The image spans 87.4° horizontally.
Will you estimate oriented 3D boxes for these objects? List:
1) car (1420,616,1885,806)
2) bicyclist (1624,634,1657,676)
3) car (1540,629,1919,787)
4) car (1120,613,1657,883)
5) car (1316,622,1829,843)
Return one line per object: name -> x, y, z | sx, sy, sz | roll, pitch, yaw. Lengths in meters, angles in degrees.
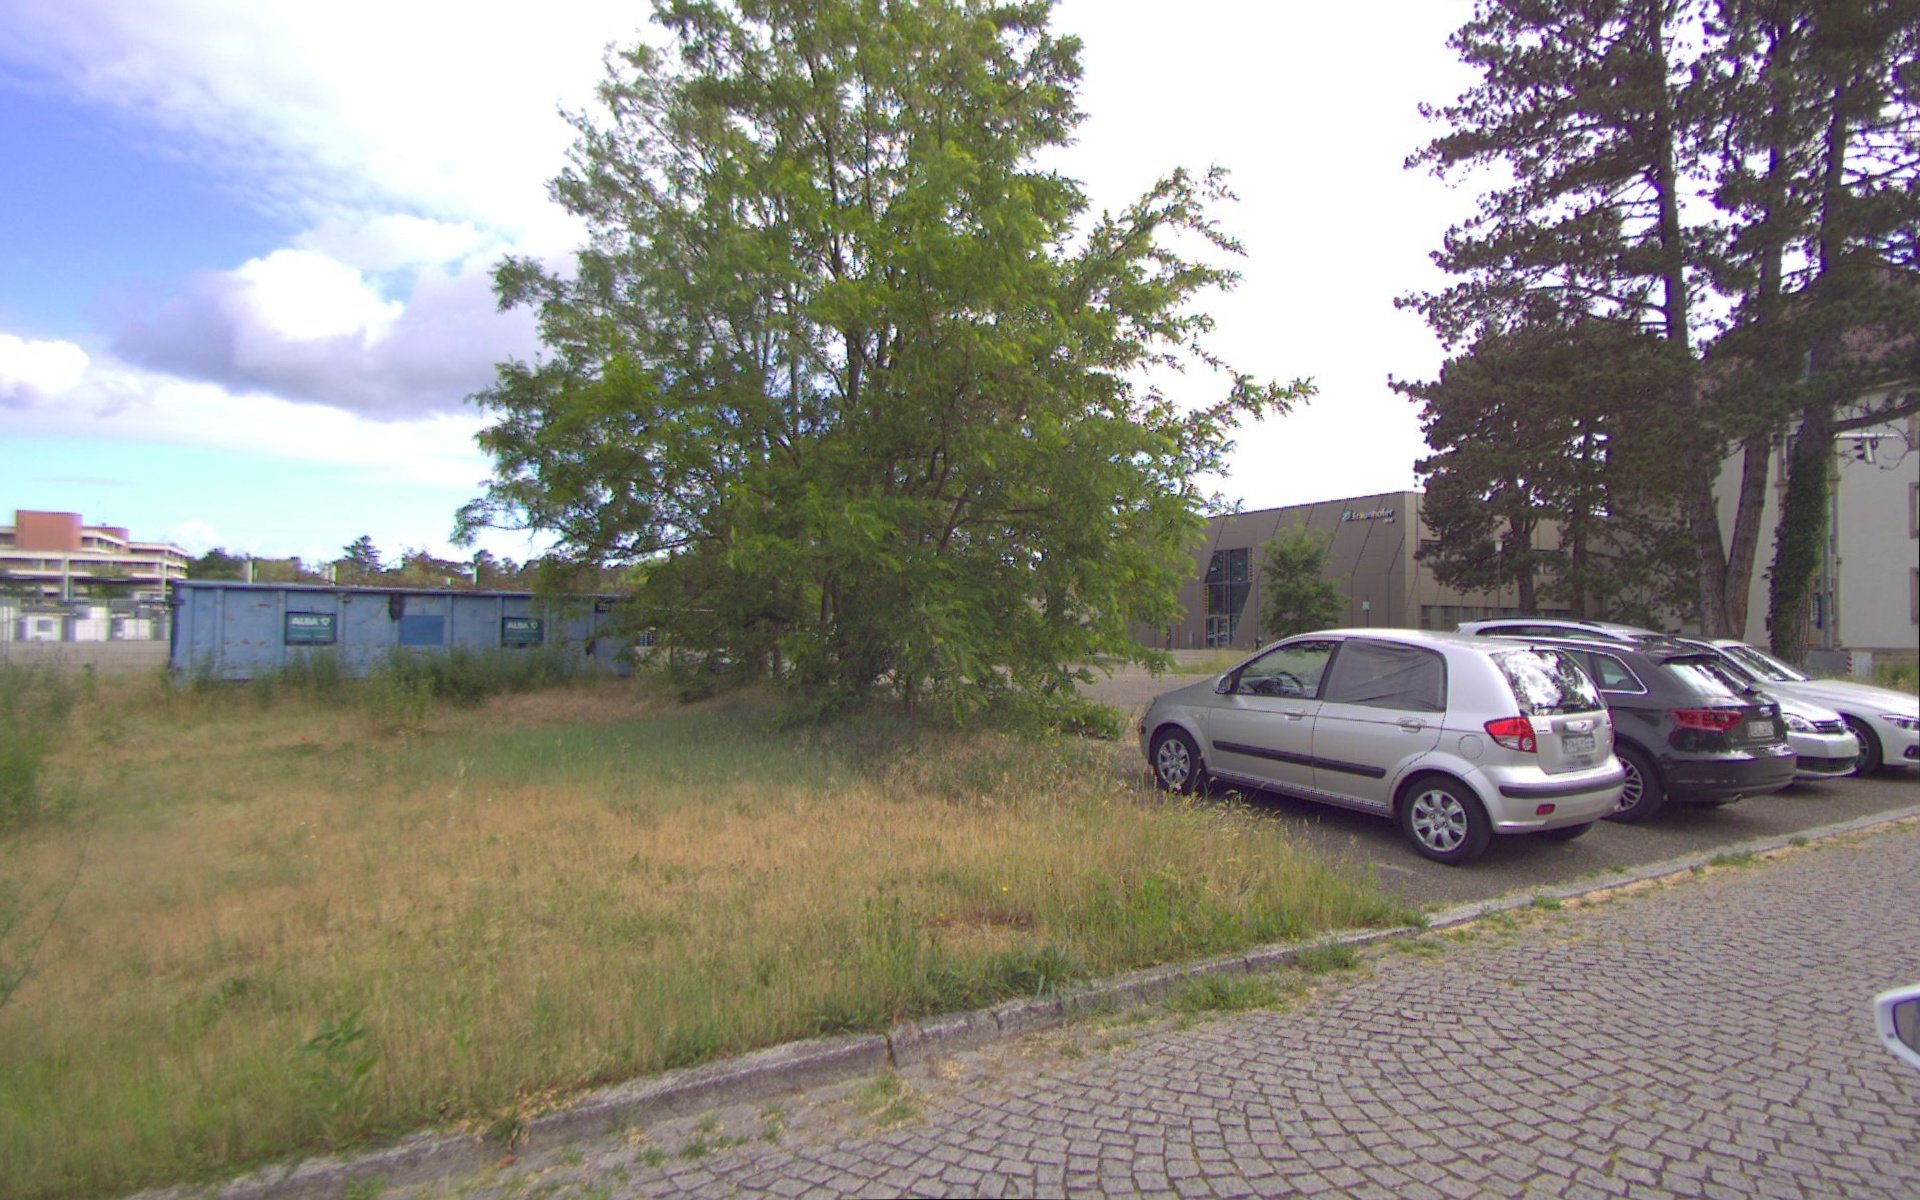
car -> 7.439, 1.049, 11.192 | 1.633, 1.584, 3.924 | 1, 1, -33
bicyclist -> 23.441, 1.876, 34.598 | 0.598, 1.429, 0.745 | 1, -2, -30
car -> 9.623, 1.183, 12.418 | 1.631, 1.440, 3.927 | 2, 1, -31
car -> 3.124, 0.927, 8.024 | 1.566, 1.499, 3.681 | 1, 1, -33
car -> 5.365, 1.015, 9.274 | 1.566, 1.448, 3.723 | 1, 1, -33
